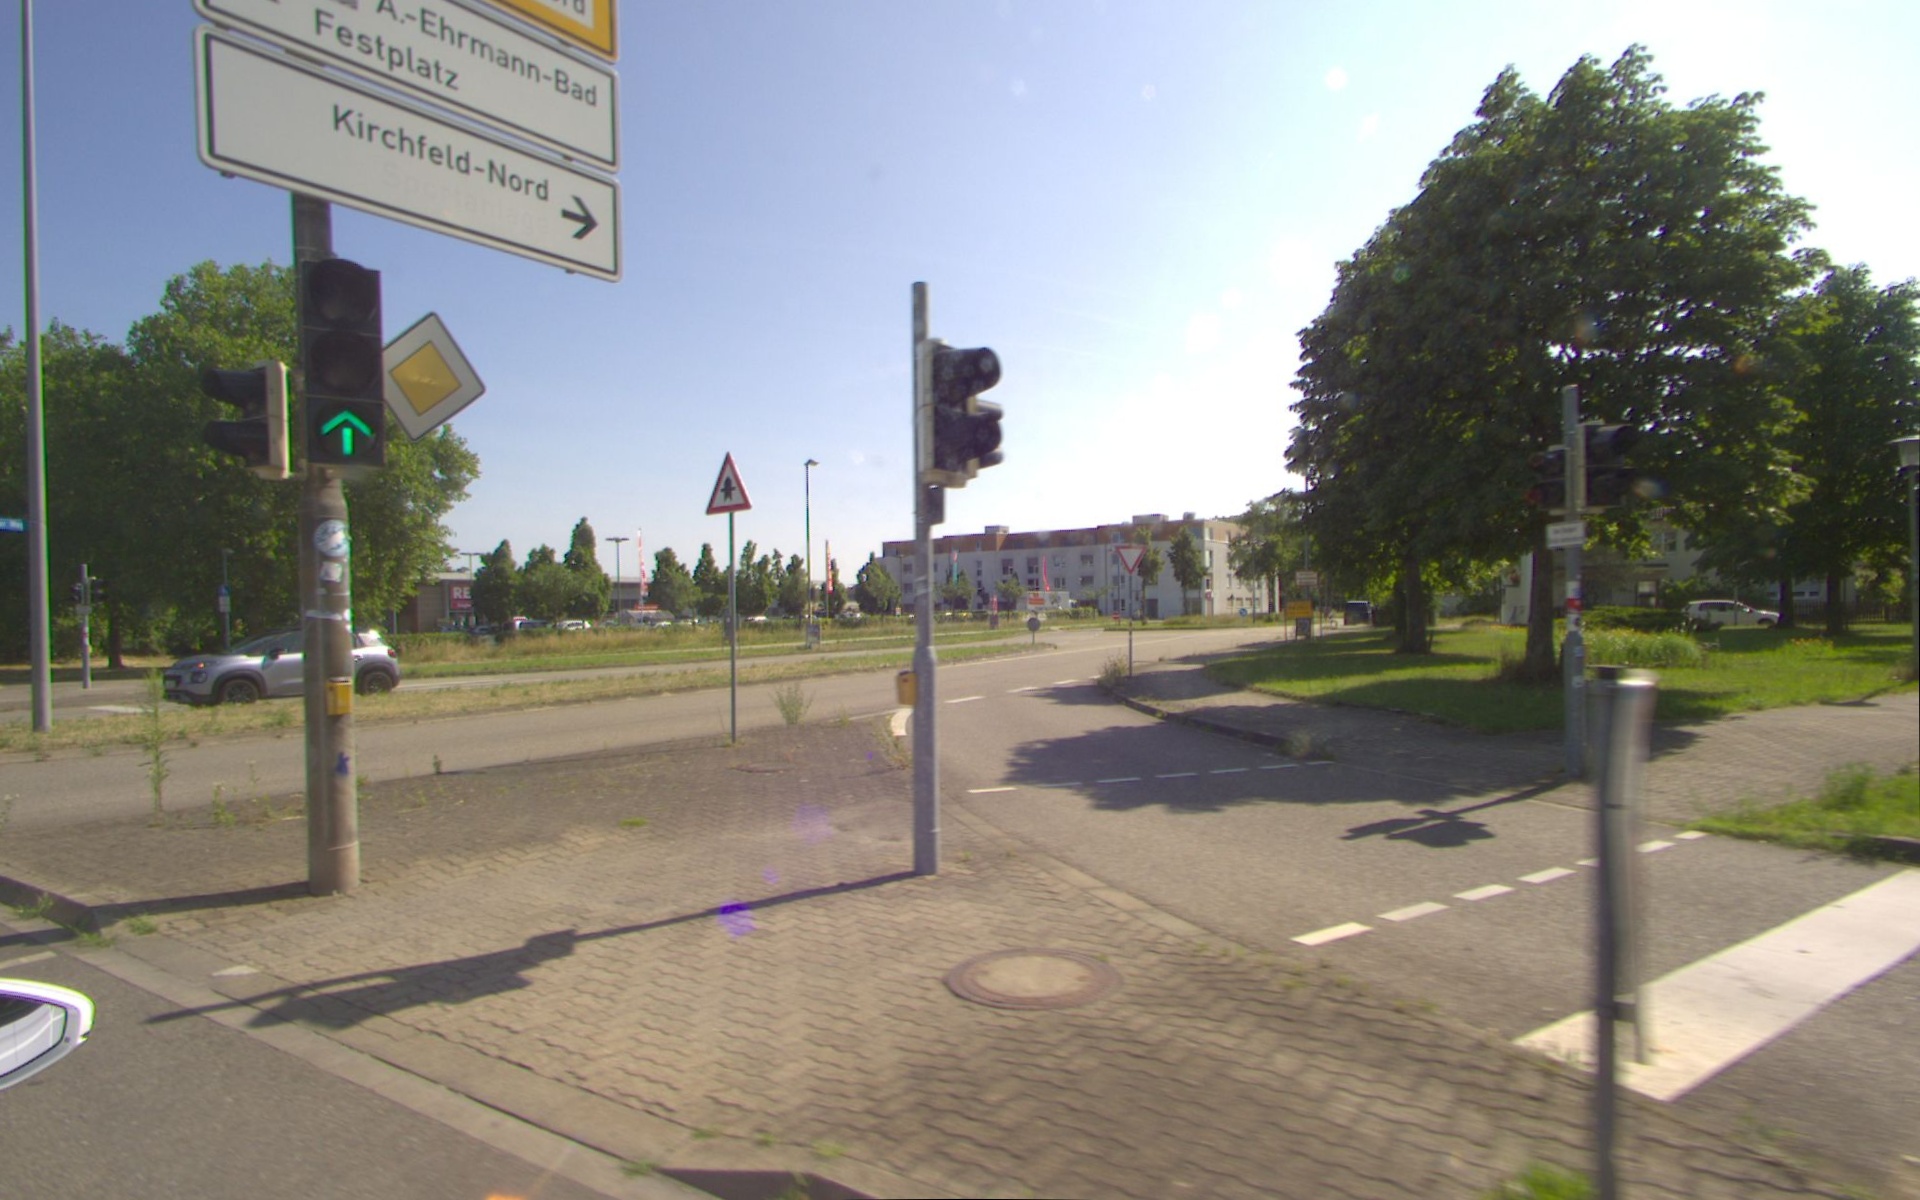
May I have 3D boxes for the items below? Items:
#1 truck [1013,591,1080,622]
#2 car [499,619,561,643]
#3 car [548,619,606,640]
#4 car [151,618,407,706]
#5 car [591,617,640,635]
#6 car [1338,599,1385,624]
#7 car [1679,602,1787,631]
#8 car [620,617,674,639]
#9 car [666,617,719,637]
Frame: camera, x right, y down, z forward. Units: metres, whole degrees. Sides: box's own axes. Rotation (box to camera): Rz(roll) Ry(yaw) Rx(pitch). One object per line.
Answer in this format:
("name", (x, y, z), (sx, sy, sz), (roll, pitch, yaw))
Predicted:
("truck", (10.681, 0.810, 123.323), (8.129, 3.592, 2.621), (-1, 0, -28))
("car", (-33.515, 2.419, 78.163), (1.977, 1.750, 3.968), (-1, 0, 41))
("car", (-33.904, 2.617, 88.751), (1.963, 1.773, 4.475), (-1, -1, 38))
("car", (-13.956, 1.202, 20.753), (1.718, 1.584, 4.043), (-1, -1, 32))
("car", (-35.725, 2.679, 103.865), (1.967, 1.773, 4.466), (-2, -1, 44))
("car", (30.599, 0.875, 76.219), (1.979, 1.813, 3.963), (-1, -1, 44))
("car", (36.936, 0.796, 47.990), (3.946, 1.305, 1.722), (-2, -1, 34))
("car", (-26.508, 2.391, 84.921), (1.977, 1.750, 3.968), (-1, 0, 41))
("car", (-25.577, 2.534, 95.726), (4.449, 1.773, 1.975), (-1, -1, -35))
